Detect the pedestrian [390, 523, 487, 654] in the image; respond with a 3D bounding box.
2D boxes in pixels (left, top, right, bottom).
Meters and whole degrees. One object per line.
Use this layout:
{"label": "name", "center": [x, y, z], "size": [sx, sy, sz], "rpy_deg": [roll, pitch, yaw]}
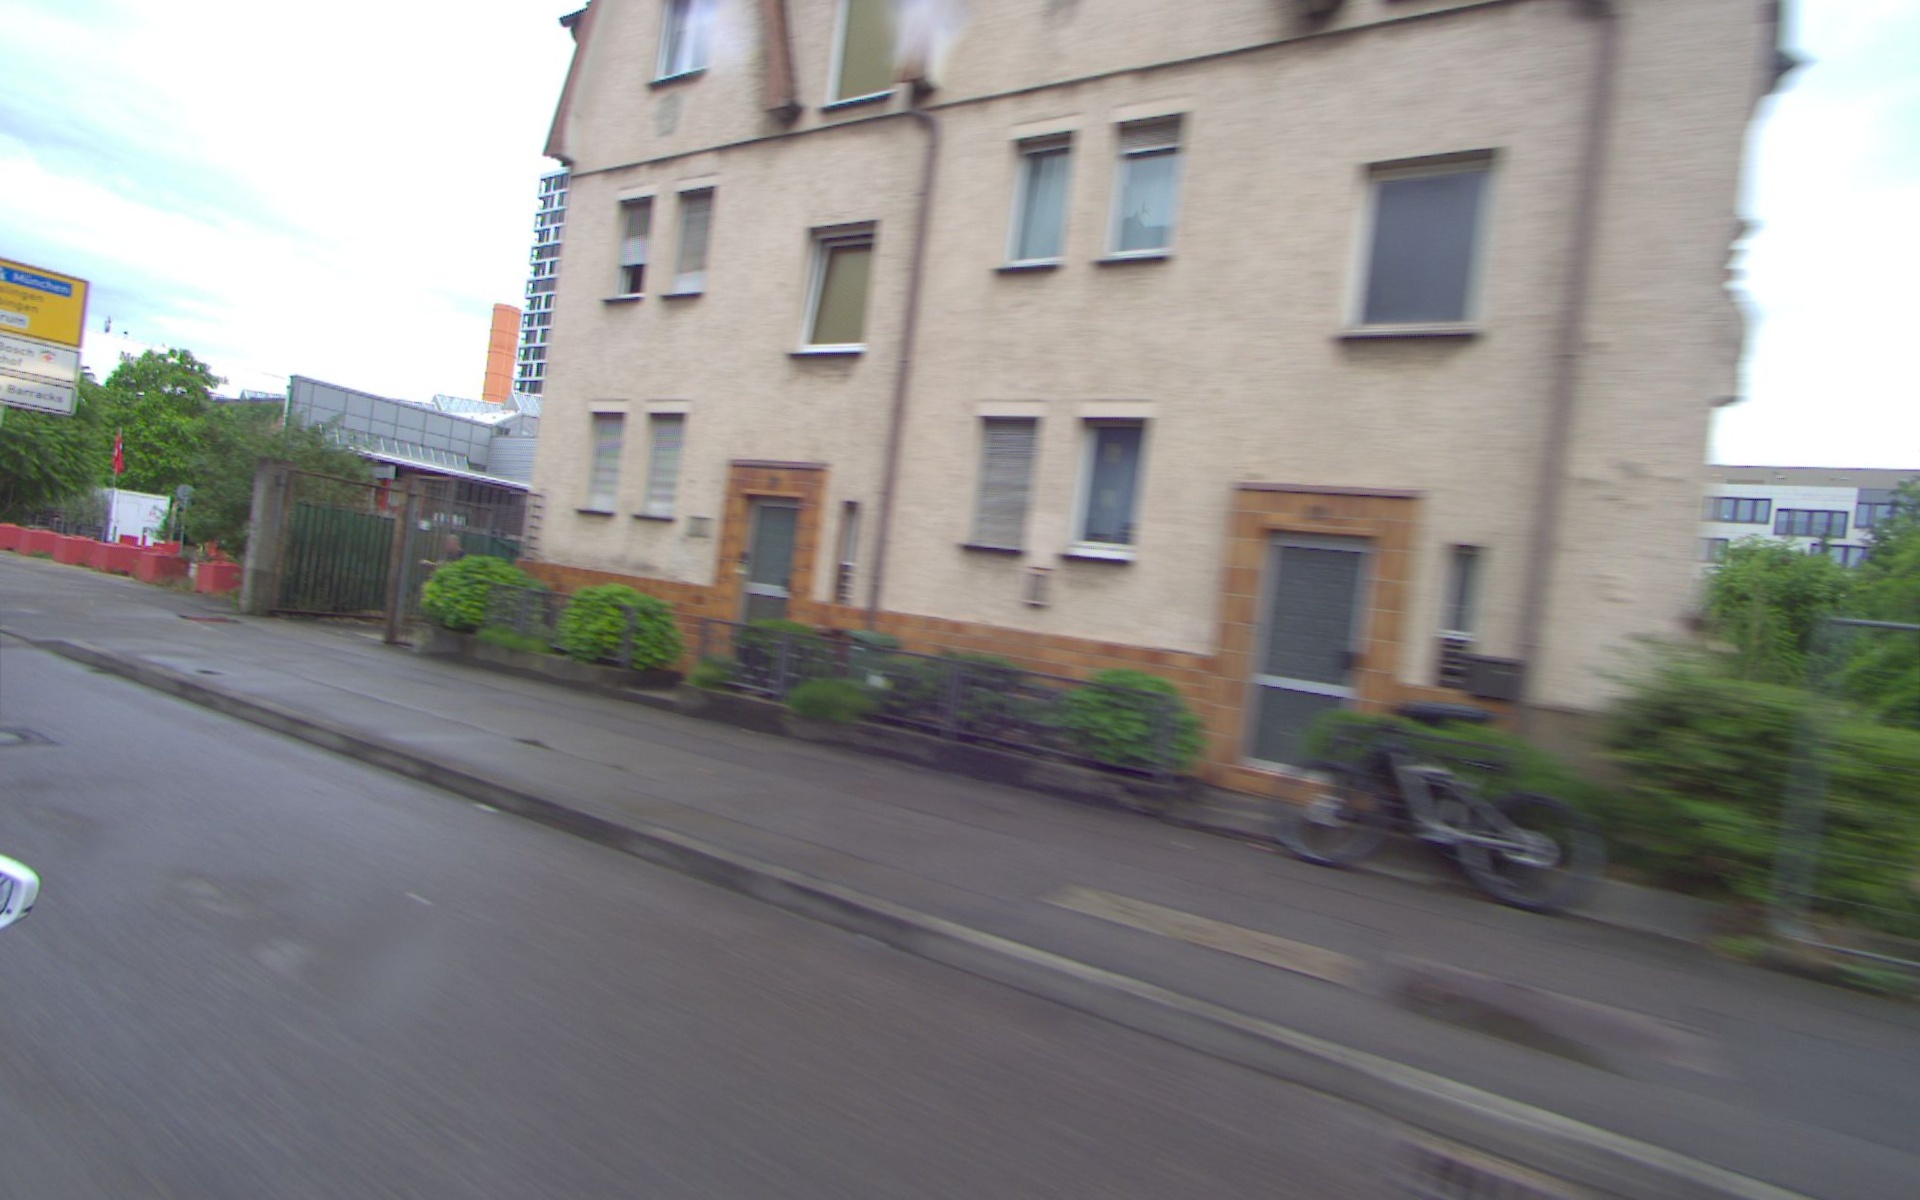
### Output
{"label": "pedestrian", "center": [-7.696, -0.159, 14.852], "size": [0.909, 1.783, 0.758], "rpy_deg": [9, -3, -43]}
